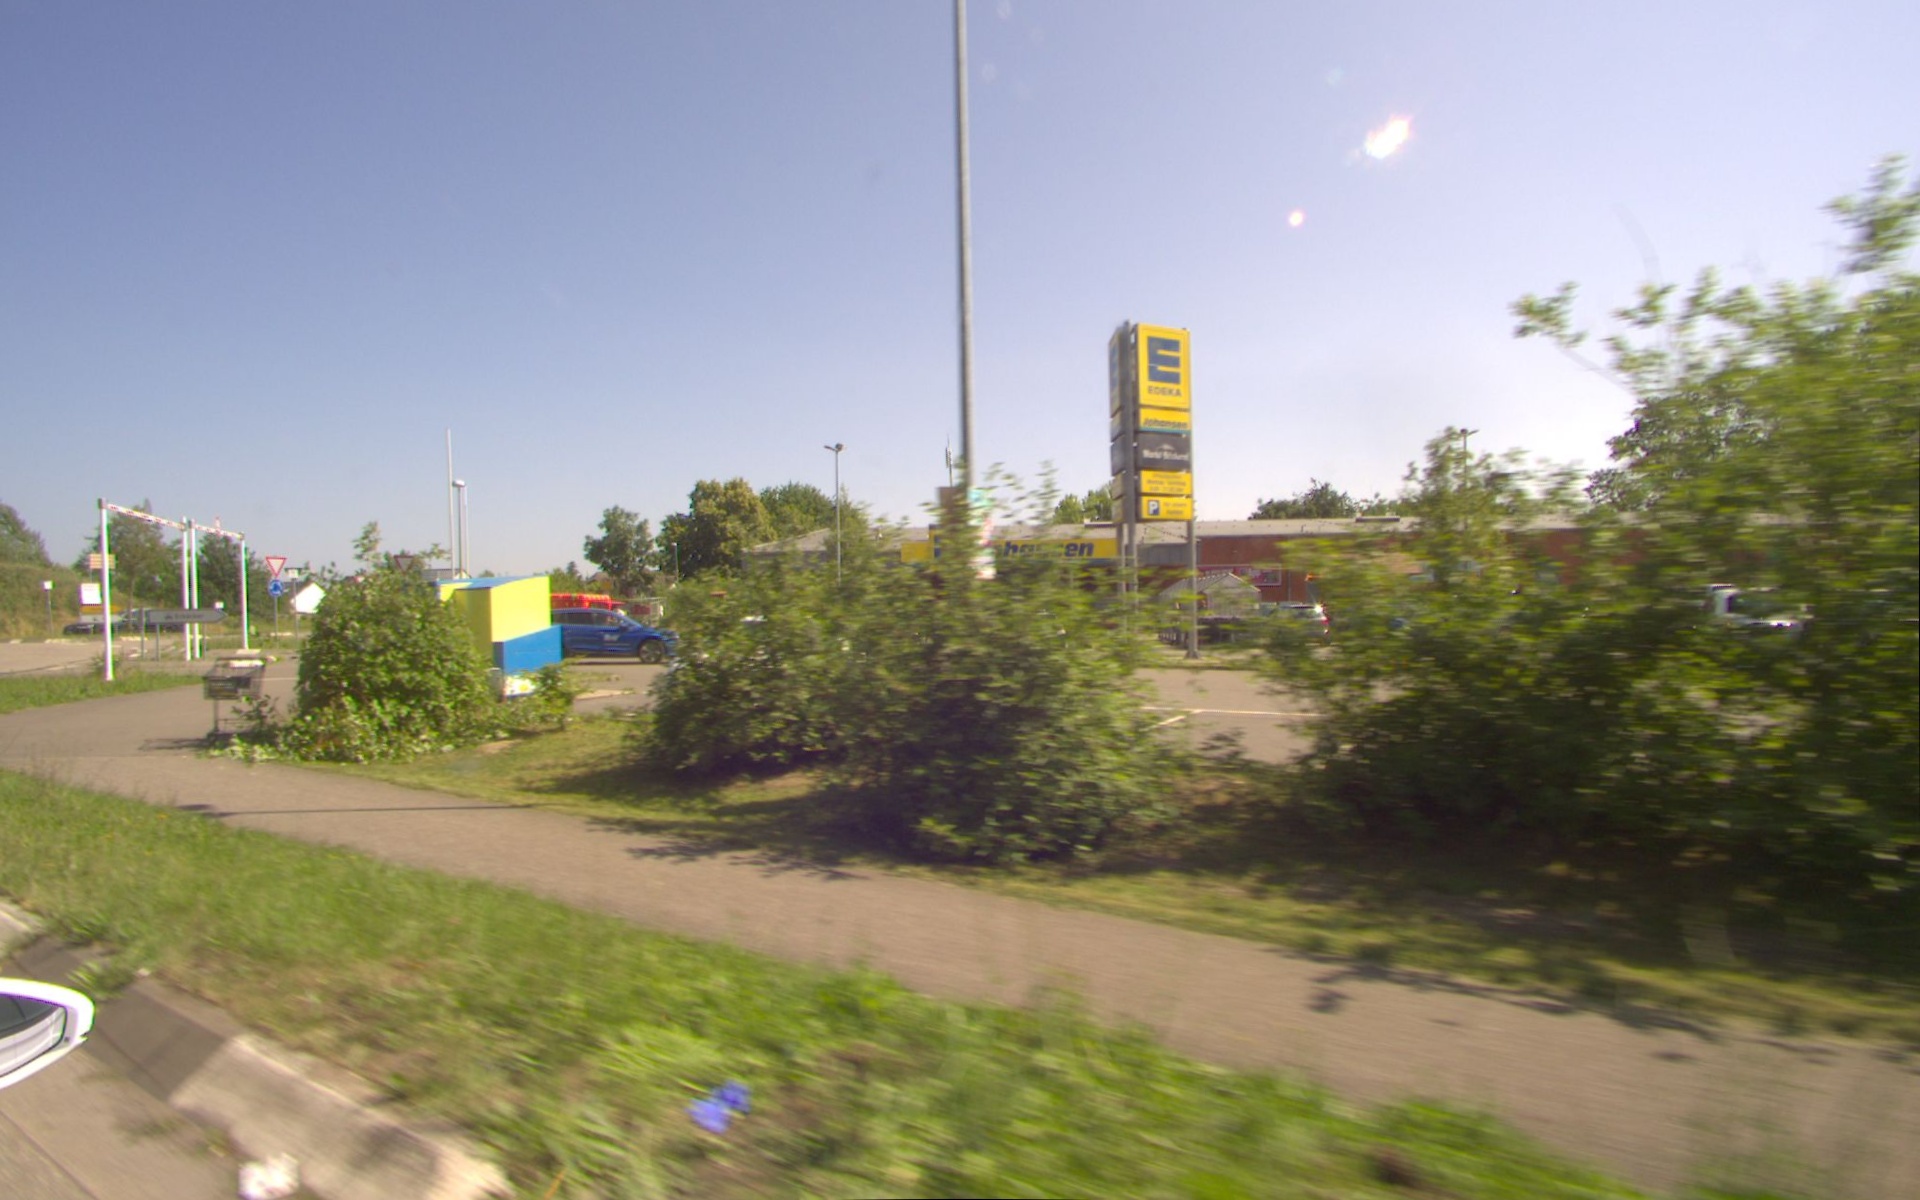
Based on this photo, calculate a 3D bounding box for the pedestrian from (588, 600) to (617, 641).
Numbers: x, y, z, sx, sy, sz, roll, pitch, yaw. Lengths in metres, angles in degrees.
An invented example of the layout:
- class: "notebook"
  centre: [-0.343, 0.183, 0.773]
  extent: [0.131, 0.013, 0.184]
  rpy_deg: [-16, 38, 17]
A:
- class: "pedestrian"
  centre: [-14.462, 0.825, 40.482]
  extent: [0.806, 1.640, 0.917]
  rpy_deg: [0, 1, -43]

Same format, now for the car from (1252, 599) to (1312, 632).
- class: "car"
  centre: [17.180, 0.812, 53.582]
  extent: [1.961, 1.706, 4.000]
  rpy_deg: [0, 0, 0]

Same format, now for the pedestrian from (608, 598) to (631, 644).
- class: "pedestrian"
  centre: [-14.088, 0.858, 41.403]
  extent: [0.827, 1.896, 0.771]
  rpy_deg: [0, 1, -23]

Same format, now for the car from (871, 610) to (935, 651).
- class: "car"
  centre: [-2.183, 1.152, 39.087]
  extent: [1.684, 1.477, 3.490]
  rpy_deg: [0, 0, 11]

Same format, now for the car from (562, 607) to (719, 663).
- class: "car"
  centre: [-9.483, 1.011, 29.863]
  extent: [4.351, 1.592, 1.712]
  rpy_deg: [0, 0, -19]

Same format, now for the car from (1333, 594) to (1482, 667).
- class: "car"
  centre: [10.736, 0.694, 24.347]
  extent: [1.629, 1.609, 3.999]
  rpy_deg: [0, 0, -3]

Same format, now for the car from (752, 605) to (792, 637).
- class: "car"
  centre: [-9.845, 1.085, 52.535]
  extent: [1.793, 1.657, 1.130]
  rpy_deg: [0, 0, 5]

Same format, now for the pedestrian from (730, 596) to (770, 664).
- class: "pedestrian"
  centre: [-5.732, 0.807, 27.387]
  extent: [0.826, 1.809, 0.880]
  rpy_deg: [0, 1, 5]

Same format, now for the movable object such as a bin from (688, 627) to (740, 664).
- class: "movable object such as a bin"
  centre: [-6.750, 1.235, 27.526]
  extent: [1.180, 0.967, 0.880]
  rpy_deg: [0, 0, 5]

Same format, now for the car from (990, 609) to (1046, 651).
- class: "car"
  centre: [2.251, 1.090, 38.069]
  extent: [1.684, 1.517, 3.490]
  rpy_deg: [0, 0, 11]

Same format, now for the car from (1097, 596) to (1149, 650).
- class: "car"
  centre: [6.198, 0.836, 37.824]
  extent: [1.843, 1.954, 3.490]
  rpy_deg: [0, 0, 11]

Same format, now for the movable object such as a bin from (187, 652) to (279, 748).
- class: "movable object such as a bin"
  centre: [-9.664, 1.291, 13.362]
  extent: [0.858, 1.135, 1.447]
  rpy_deg: [0, 0, -31]

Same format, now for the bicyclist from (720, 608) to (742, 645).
- class: "bicyclist"
  centre: [-9.544, 1.098, 41.770]
  extent: [0.598, 1.535, 0.674]
  rpy_deg: [0, 1, 29]

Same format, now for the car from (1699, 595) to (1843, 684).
- class: "car"
  centre: [14.827, 0.649, 18.497]
  extent: [1.627, 1.461, 3.977]
  rpy_deg: [0, 0, 33]

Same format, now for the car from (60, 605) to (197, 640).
- class: "car"
  centre: [-39.955, 1.037, 48.287]
  extent: [1.965, 1.613, 4.765]
  rpy_deg: [0, 0, 20]

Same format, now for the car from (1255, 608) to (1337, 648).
- class: "car"
  centre: [12.498, 1.009, 37.513]
  extent: [1.944, 1.439, 4.000]
  rpy_deg: [0, 0, 4]

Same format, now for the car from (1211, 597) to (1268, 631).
- class: "car"
  centre: [14.913, 0.730, 53.598]
  extent: [1.961, 1.706, 4.000]
  rpy_deg: [0, 0, 0]

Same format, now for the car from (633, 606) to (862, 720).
- class: "car"
  centre: [-3.395, 0.932, 16.593]
  extent: [1.786, 1.583, 3.589]
  rpy_deg: [0, 1, 29]

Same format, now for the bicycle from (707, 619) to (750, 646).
- class: "bicycle"
  centre: [-9.664, 1.349, 41.849]
  extent: [0.545, 1.055, 2.067]
  rpy_deg: [0, 0, 28]

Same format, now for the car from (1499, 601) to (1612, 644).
- class: "car"
  centre: [21.979, 0.803, 37.131]
  extent: [1.930, 1.505, 4.000]
  rpy_deg: [0, 0, 2]
